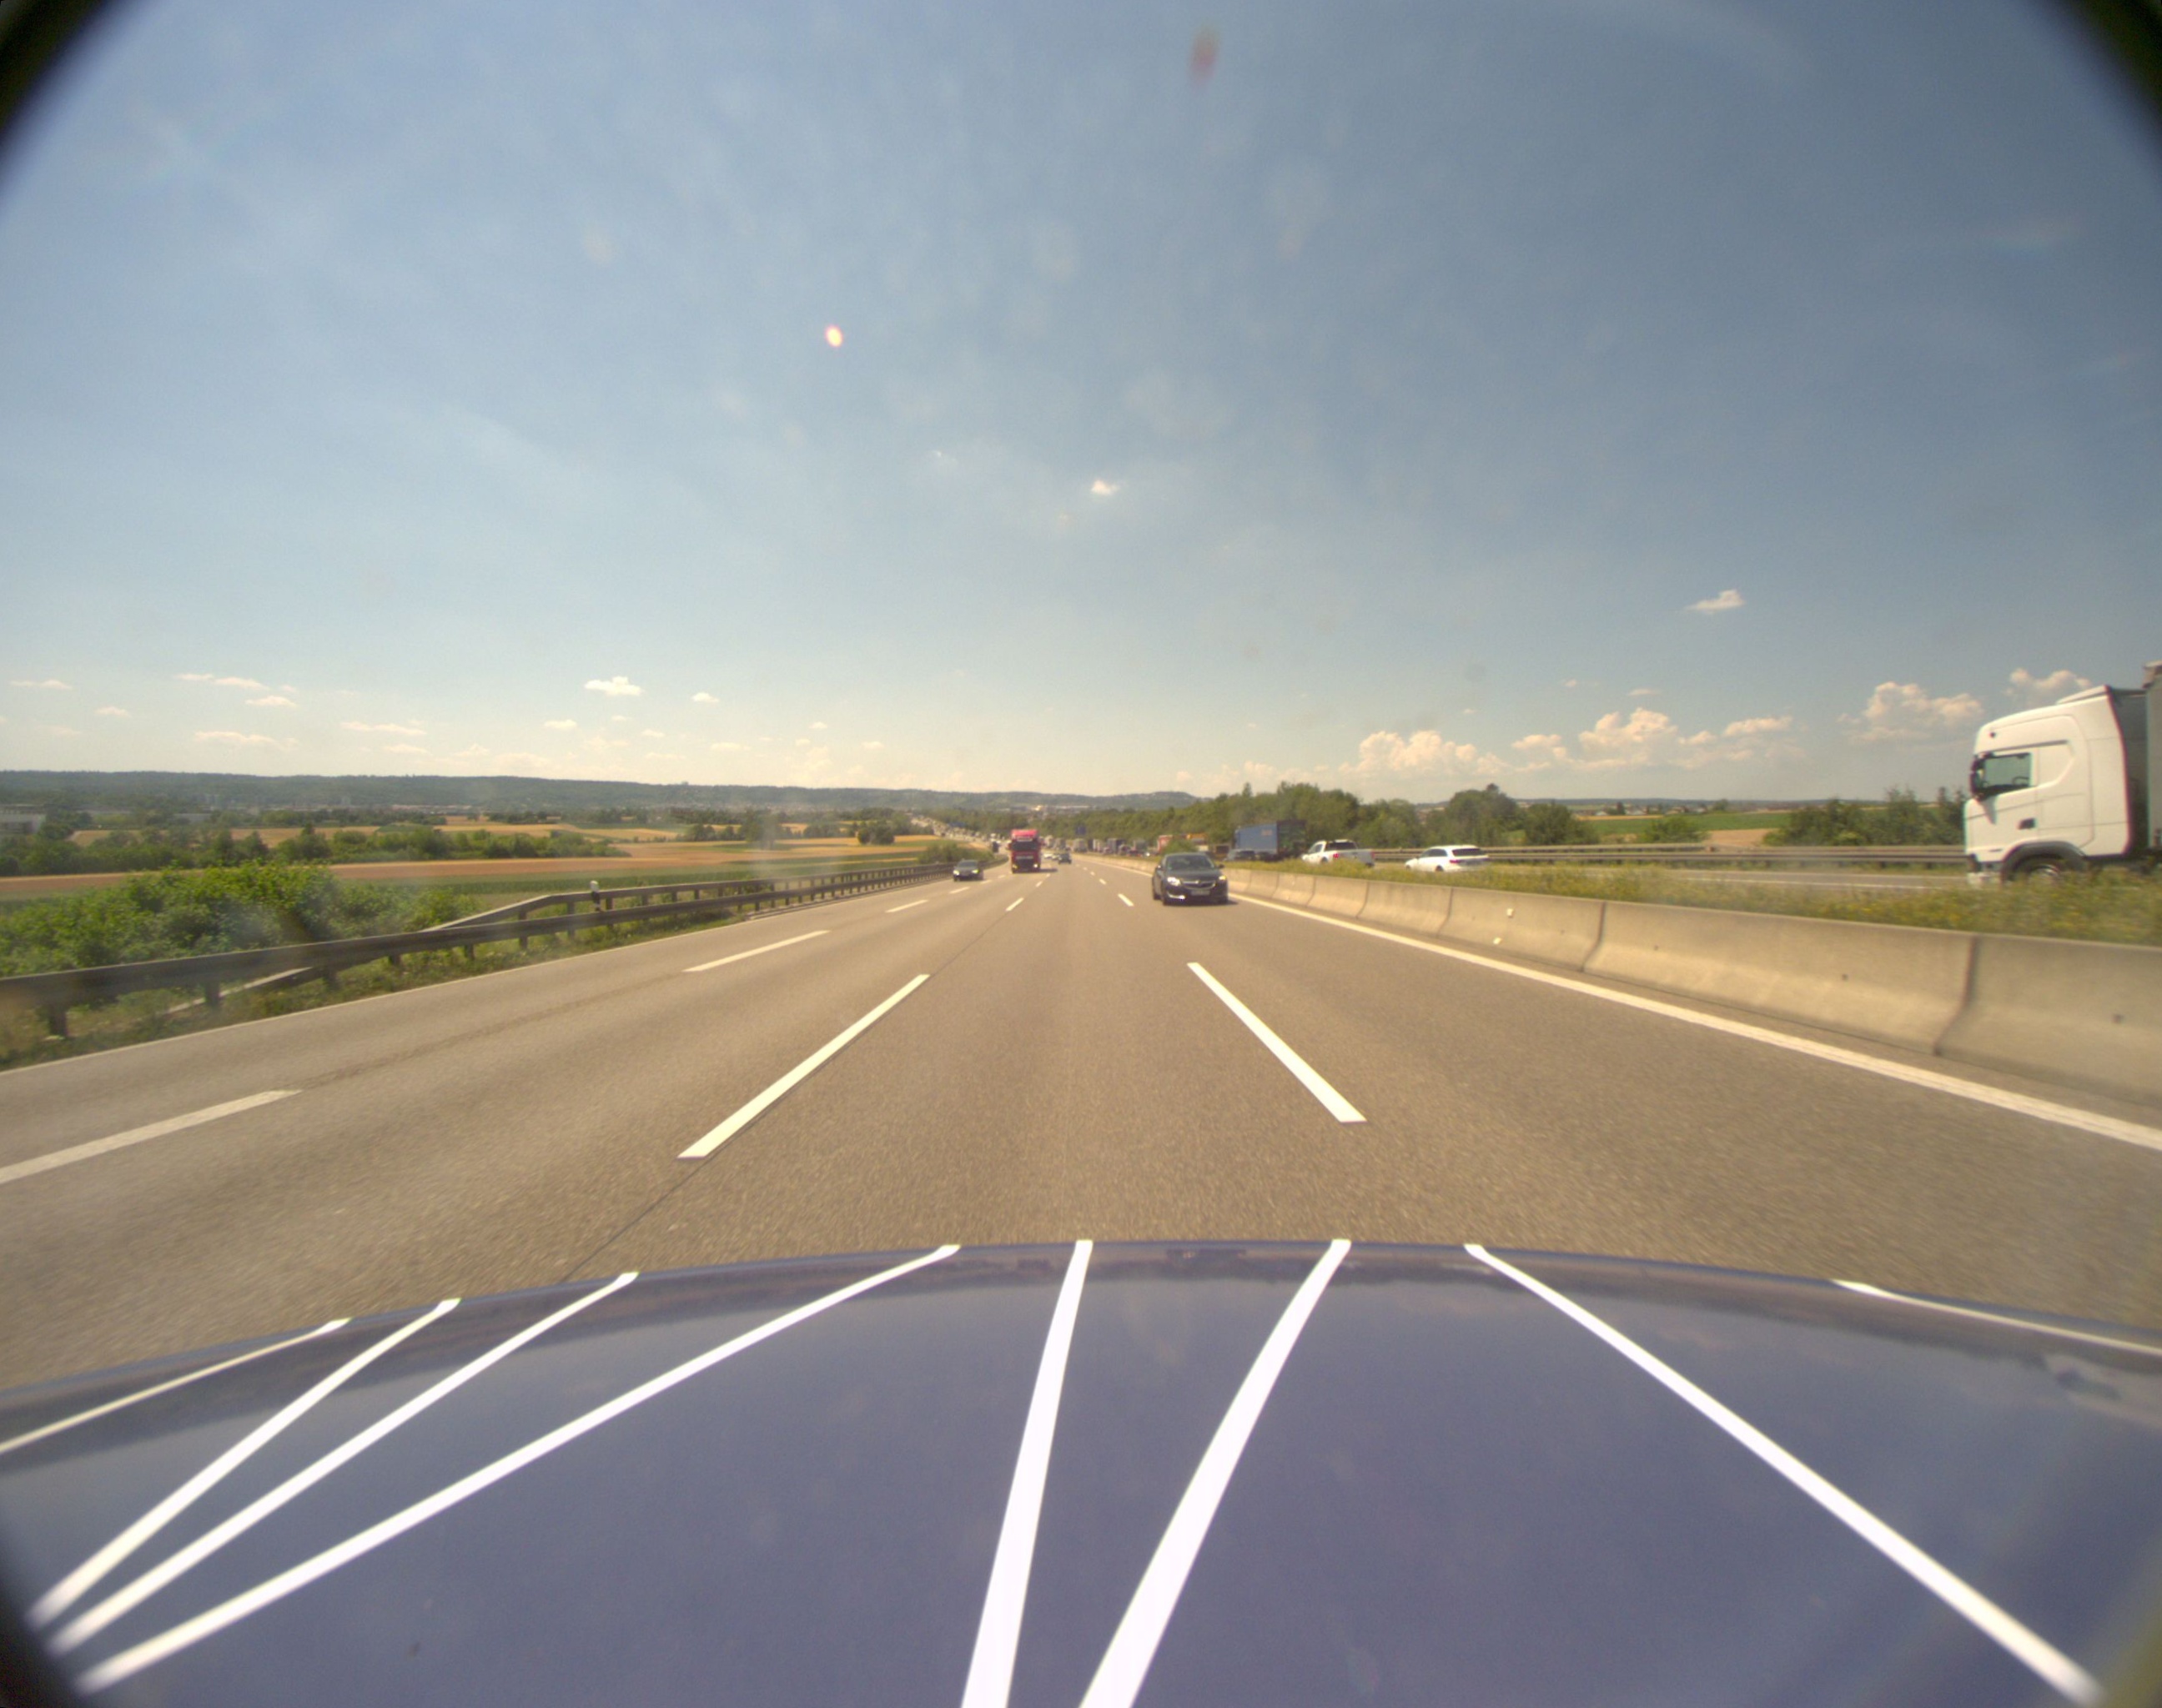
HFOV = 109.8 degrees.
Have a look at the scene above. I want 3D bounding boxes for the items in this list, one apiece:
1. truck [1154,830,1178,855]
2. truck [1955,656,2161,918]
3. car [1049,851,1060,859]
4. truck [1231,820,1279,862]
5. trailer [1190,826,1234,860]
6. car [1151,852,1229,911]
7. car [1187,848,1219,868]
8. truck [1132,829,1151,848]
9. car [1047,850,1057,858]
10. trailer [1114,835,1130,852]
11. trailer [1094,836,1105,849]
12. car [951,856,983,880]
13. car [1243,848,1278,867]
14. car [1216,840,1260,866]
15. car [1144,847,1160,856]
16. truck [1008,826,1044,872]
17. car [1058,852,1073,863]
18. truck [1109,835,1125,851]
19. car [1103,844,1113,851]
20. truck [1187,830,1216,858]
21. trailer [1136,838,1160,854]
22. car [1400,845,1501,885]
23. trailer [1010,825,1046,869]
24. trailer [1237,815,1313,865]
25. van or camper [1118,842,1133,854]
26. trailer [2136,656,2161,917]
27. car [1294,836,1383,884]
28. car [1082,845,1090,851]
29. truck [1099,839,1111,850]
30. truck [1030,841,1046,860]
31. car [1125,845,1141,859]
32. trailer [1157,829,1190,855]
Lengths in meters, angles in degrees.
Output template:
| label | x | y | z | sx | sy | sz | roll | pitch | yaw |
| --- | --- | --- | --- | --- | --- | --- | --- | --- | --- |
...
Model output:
| label | x | y | z | sx | sy | sz | roll | pitch | yaw |
| --- | --- | --- | --- | --- | --- | --- | --- | --- | --- |
| truck | 15.043 | -2.030 | 134.951 | 3.044 | 4.058 | 6.312 | -3 | 1 | -3 |
| truck | 19.379 | -1.153 | 12.418 | 3.140 | 4.303 | 6.146 | -2 | 1 | 1 |
| car | -5.088 | 0.112 | 145.492 | 1.867 | 1.322 | 3.995 | -2 | 3 | -8 |
| truck | 18.079 | -1.318 | 79.356 | 3.084 | 4.066 | 6.933 | -2 | 1 | -1 |
| trailer | 17.287 | -1.371 | 101.667 | 2.960 | 4.077 | 14.377 | -2 | 0 | -1 |
| car | 3.196 | 0.753 | 23.146 | 1.807 | 1.534 | 4.749 | -2 | 0 | 2 |
| car | 10.983 | 0.325 | 68.528 | 1.999 | 1.625 | 4.349 | -2 | 1 | -1 |
| truck | 13.016 | -3.256 | 163.685 | 2.909 | 3.854 | 6.174 | -3 | 1 | -4 |
| car | -6.618 | -0.001 | 173.510 | 1.999 | 1.467 | 3.996 | -3 | 3 | -5 |
| trailer | 10.665 | -2.829 | 198.923 | 2.994 | 4.169 | 8.589 | -2 | 1 | -4 |
| trailer | 6.107 | -3.852 | 247.163 | 2.928 | 4.049 | 8.226 | -1 | 1 | -3 |
| car | -8.077 | 0.961 | 54.065 | 2.038 | 1.543 | 3.998 | -2 | 0 | -6 |
| car | 14.573 | 0.280 | 61.862 | 1.629 | 1.395 | 3.729 | -2 | 0 | -4 |
| car | 10.897 | -0.052 | 52.953 | 1.999 | 1.663 | 4.476 | -2 | 0 | -1 |
| car | 11.793 | -0.431 | 126.256 | 1.918 | 1.532 | 5.740 | -2 | 1 | -3 |
| truck | -5.113 | -0.538 | 72.144 | 2.924 | 3.986 | 6.508 | -3 | 2 | -1 |
| car | -2.269 | 0.488 | 110.387 | 1.867 | 1.426 | 3.996 | -2 | 3 | -6 |
| truck | 9.823 | -3.001 | 208.628 | 3.010 | 4.210 | 10.727 | -2 | 1 | -5 |
| car | 7.074 | -1.712 | 196.751 | 1.919 | 1.762 | 4.759 | -3 | 1 | -5 |
| truck | 17.148 | -1.375 | 108.749 | 2.758 | 3.815 | 7.096 | -2 | 1 | -1 |
| trailer | 13.647 | -1.655 | 156.446 | 2.866 | 3.187 | 12.776 | -3 | 1 | -4 |
| car | 14.947 | 0.409 | 31.062 | 1.848 | 1.452 | 4.490 | -2 | 1 | -1 |
| trailer | -5.335 | -0.841 | 78.642 | 2.926 | 4.094 | 13.851 | -3 | 2 | -1 |
| trailer | 18.201 | -1.266 | 72.604 | 3.169 | 4.170 | 14.376 | -3 | 1 | -1 |
| van or camper | 9.490 | -1.301 | 162.426 | 2.317 | 2.572 | 7.139 | -3 | 1 | -3 |
| trailer | 19.223 | -1.077 | 5.538 | 3.131 | 4.299 | 14.543 | -2 | 1 | 1 |
| car | 11.417 | 0.191 | 34.146 | 1.998 | 1.893 | 5.675 | -2 | 1 | 0 |
| car | 1.474 | -1.840 | 223.920 | 2.055 | 1.686 | 5.252 | -3 | 1 | -5 |
| truck | 7.341 | -2.839 | 234.487 | 2.546 | 3.189 | 7.583 | -2 | 1 | -6 |
| truck | -7.578 | -0.635 | 132.968 | 2.446 | 3.012 | 6.909 | -3 | 3 | -6 |
| car | 8.260 | -0.346 | 120.509 | 1.918 | 1.959 | 5.445 | -2 | 1 | -3 |
| trailer | 15.404 | -2.029 | 128.147 | 3.094 | 4.077 | 14.375 | -2 | 1 | -2 |
